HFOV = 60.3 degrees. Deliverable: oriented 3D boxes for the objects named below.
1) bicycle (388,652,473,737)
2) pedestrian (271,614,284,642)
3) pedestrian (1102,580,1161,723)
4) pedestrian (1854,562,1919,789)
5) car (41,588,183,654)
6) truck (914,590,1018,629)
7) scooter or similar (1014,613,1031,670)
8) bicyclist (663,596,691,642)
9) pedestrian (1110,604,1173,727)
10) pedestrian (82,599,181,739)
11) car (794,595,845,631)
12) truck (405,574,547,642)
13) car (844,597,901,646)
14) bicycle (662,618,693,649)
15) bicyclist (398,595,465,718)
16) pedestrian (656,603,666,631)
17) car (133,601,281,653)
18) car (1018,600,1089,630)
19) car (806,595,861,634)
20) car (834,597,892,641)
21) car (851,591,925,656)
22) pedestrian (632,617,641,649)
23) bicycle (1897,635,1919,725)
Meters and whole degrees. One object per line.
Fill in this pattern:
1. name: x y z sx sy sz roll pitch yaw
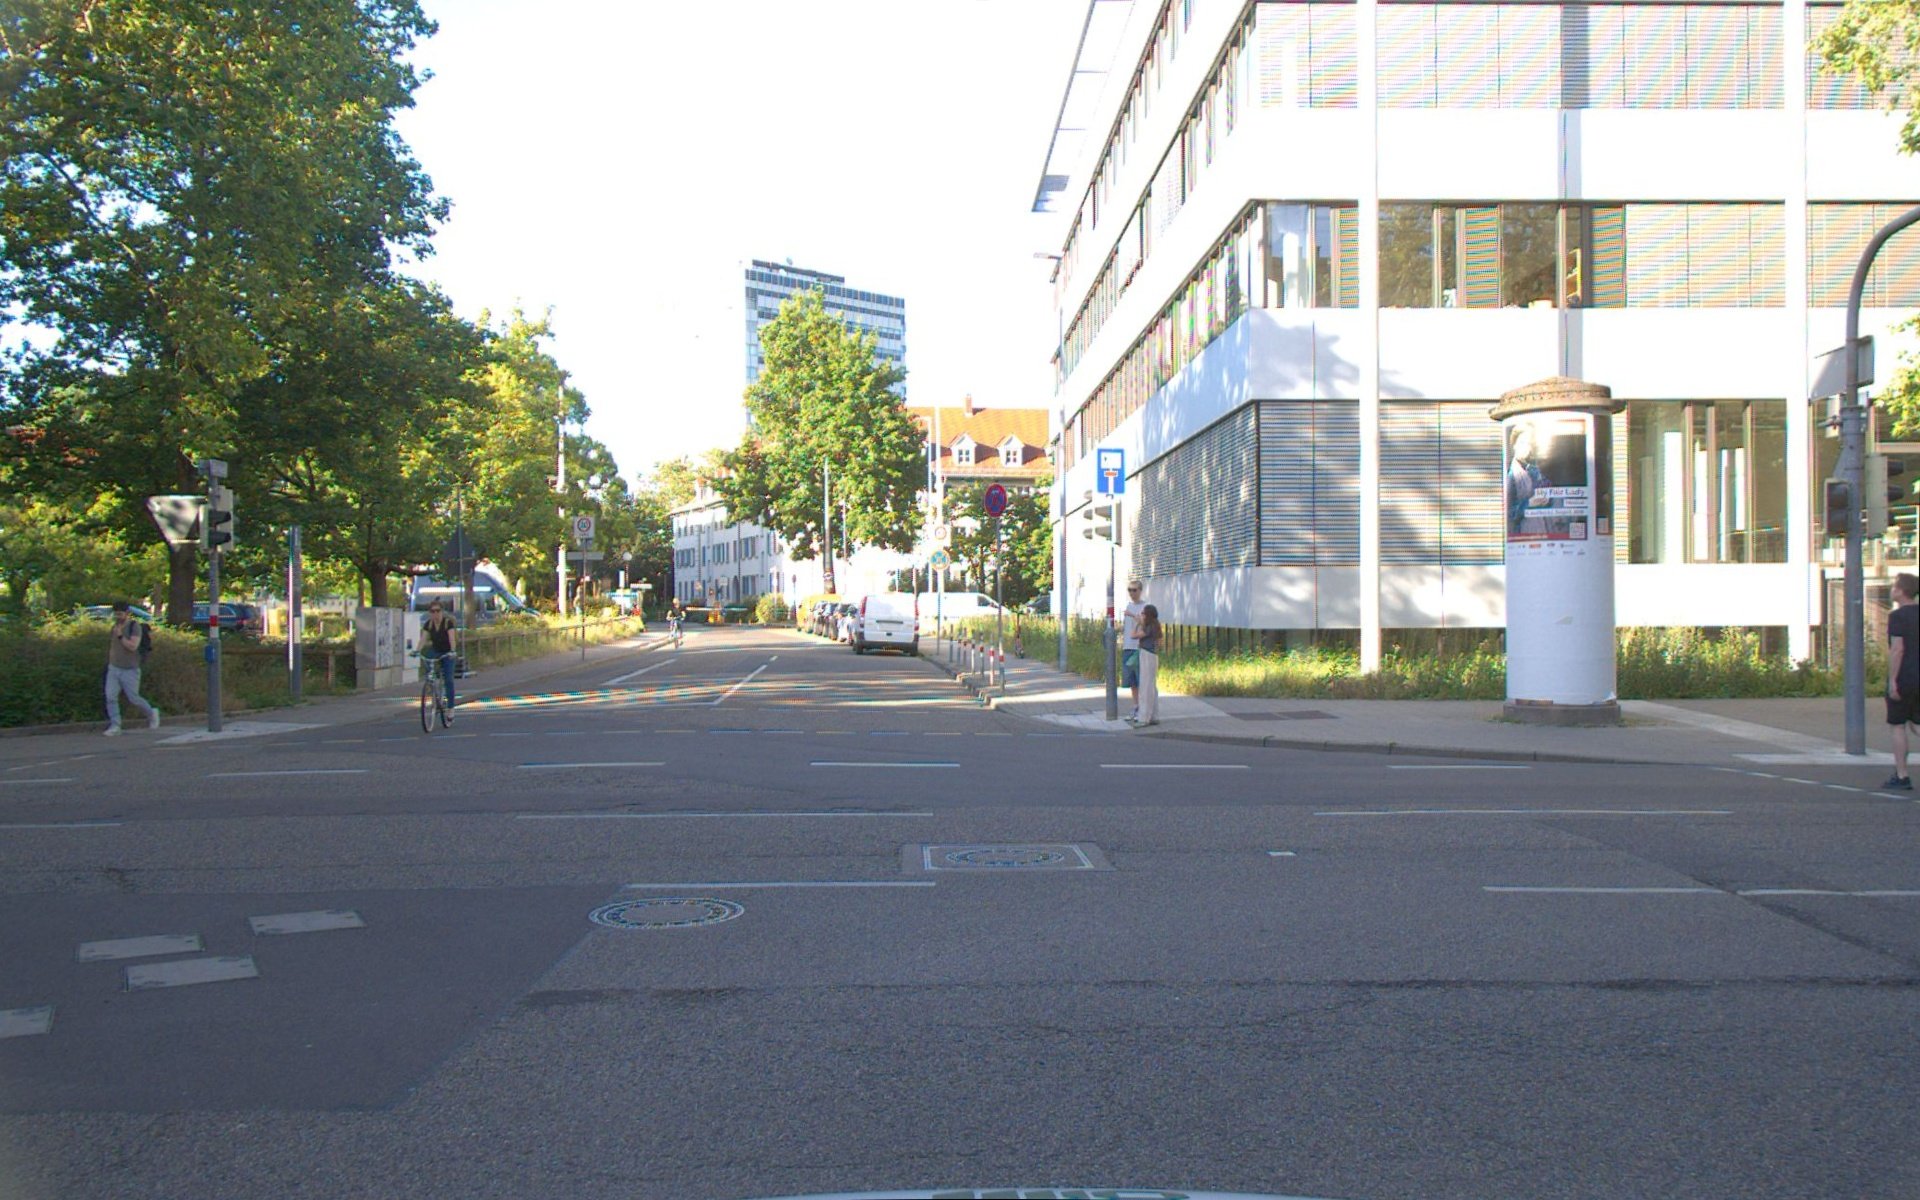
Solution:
1. bicycle: -6.838 1.197 21.427 0.603 0.987 1.840 -1 0 -4
2. pedestrian: -32.888 1.343 79.652 0.550 1.347 0.574 0 0 -22
3. pedestrian: 2.336 0.691 22.474 0.548 1.883 0.677 -3 0 21
4. pedestrian: 8.161 0.628 14.042 0.692 1.872 0.838 1 0 4
5. car: -33.144 0.820 64.745 4.465 2.433 2.072 -1 -1 -4
6. truck: 0.315 0.533 88.149 5.248 2.049 1.992 0 -1 -15
7. scooter or similar: 1.636 1.077 43.368 0.323 1.449 1.334 1 -1 -1
8. bicyclist: -9.901 0.659 57.947 0.849 1.542 1.018 -3 -1 -6
9. pedestrian: 2.394 0.852 21.859 0.550 1.567 0.674 -3 0 -13
10. pedestrian: -10.668 0.878 21.326 0.688 1.753 0.956 -2 -1 9
11. car: -6.921 0.607 81.146 1.856 1.684 4.400 0 1 -13
12. truck: -17.962 0.292 61.596 4.734 2.441 2.085 0 0 -5
13. car: -3.106 0.717 58.190 1.851 1.583 4.411 0 1 -5
14. bicycle: -9.886 1.160 57.926 0.849 1.027 2.411 -3 0 -6
15. bicyclist: -6.842 0.715 21.444 0.603 1.559 0.902 -1 0 -4
16. pedestrian: -18.319 1.013 101.337 0.536 1.706 0.474 -1 0 -12
17. car: -27.776 0.990 61.123 4.465 1.760 2.072 -1 -1 -4
18. car: 5.017 0.807 88.955 3.495 1.573 1.552 0 -1 -14
19. car: -5.875 0.659 76.550 1.856 1.684 4.400 0 1 -13
20. car: -3.773 0.692 63.637 1.853 1.583 4.407 0 1 -8
21. car: -2.218 0.659 49.991 2.044 1.827 4.411 0 1 -5
22. pedestrian: -16.365 1.663 83.645 0.425 1.636 0.492 0 0 -8
23. bicycle: 12.242 1.003 19.889 0.501 1.067 1.671 -2 3 -30
